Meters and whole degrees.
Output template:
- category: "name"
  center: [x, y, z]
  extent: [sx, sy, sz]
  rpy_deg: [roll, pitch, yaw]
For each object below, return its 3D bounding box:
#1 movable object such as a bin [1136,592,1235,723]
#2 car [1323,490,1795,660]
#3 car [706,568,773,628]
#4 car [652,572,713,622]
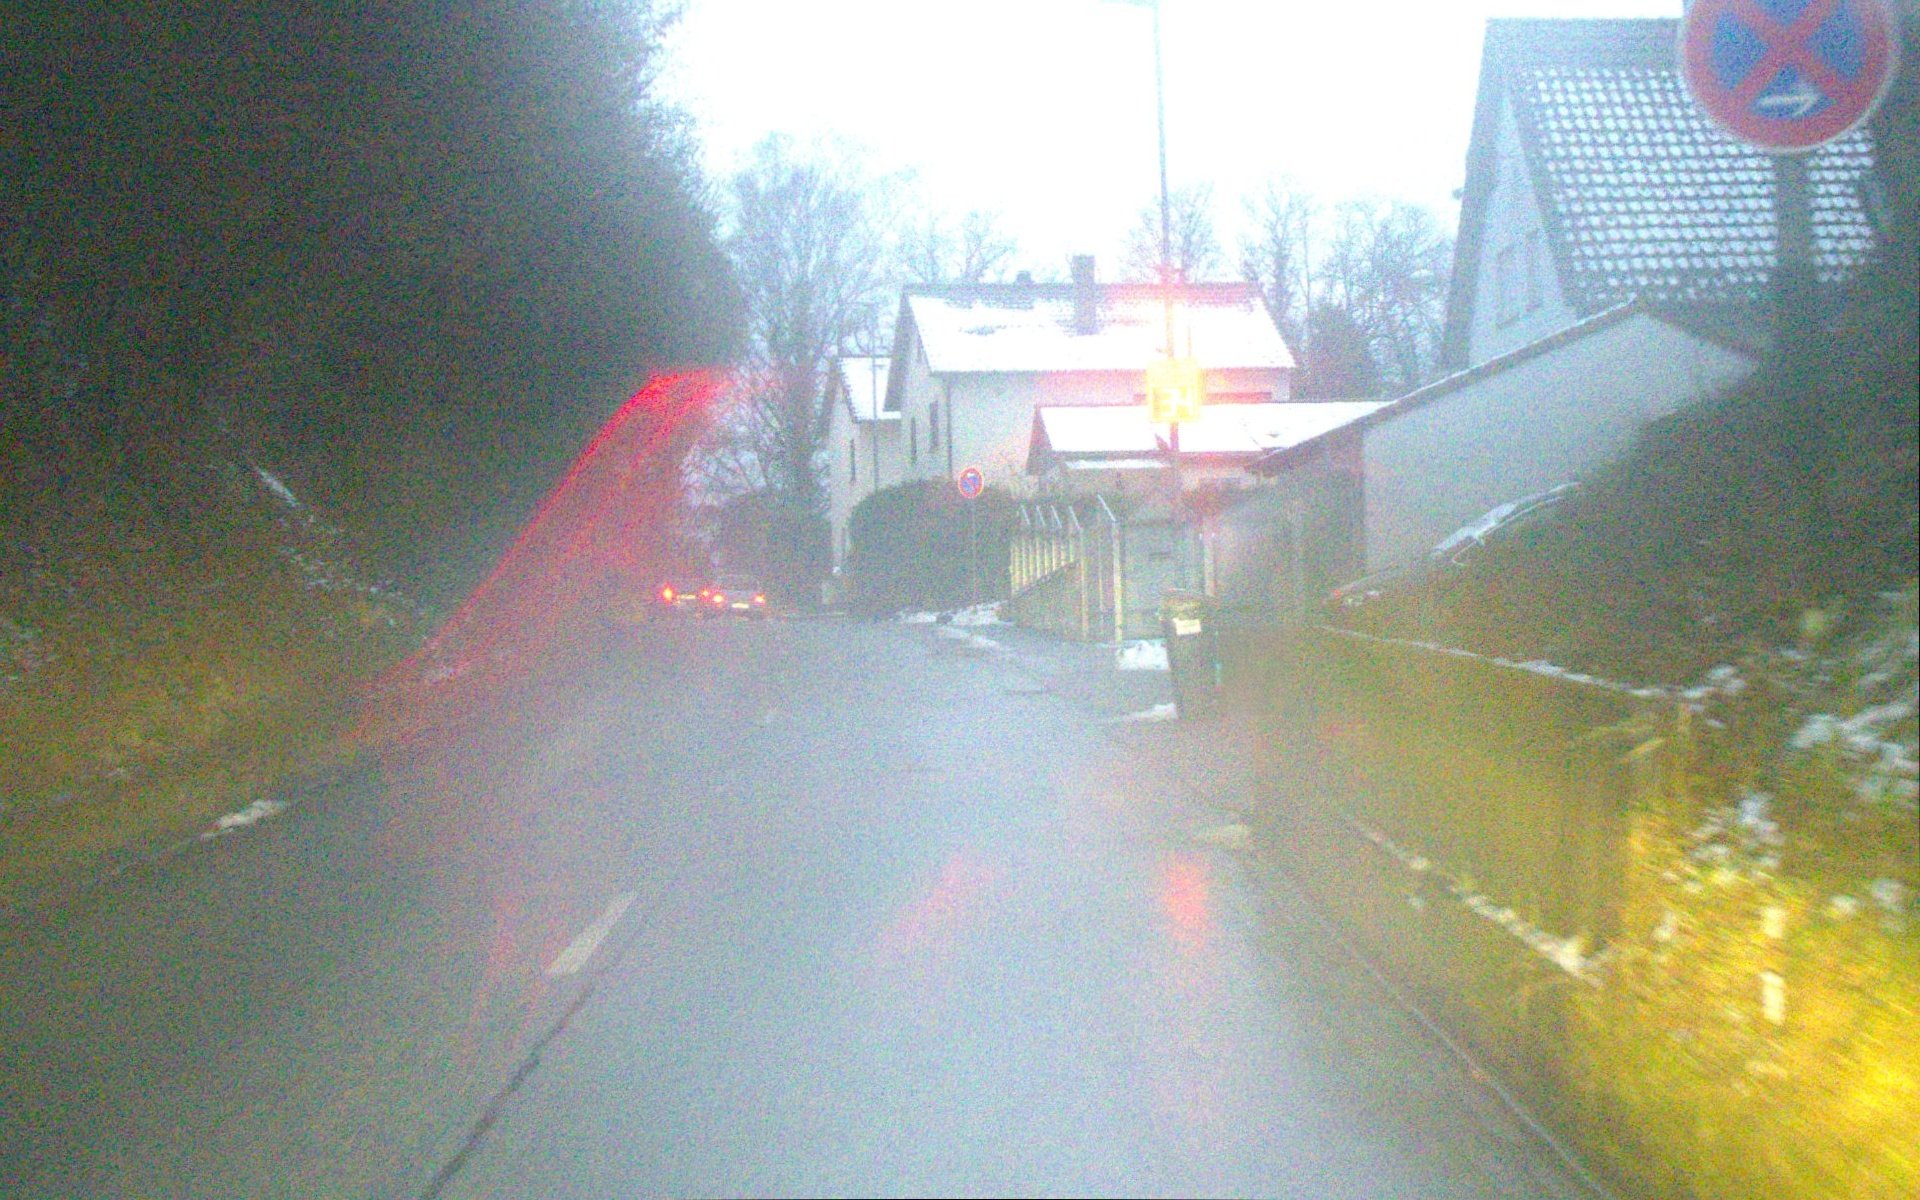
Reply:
- category: "movable object such as a bin"
  center: [1.808, 0.463, 27.427]
  extent: [0.685, 1.000, 0.856]
  rpy_deg: [-3, -2, 7]
- category: "car"
  center: [5.381, -0.200, 31.272]
  extent: [3.987, 1.262, 1.695]
  rpy_deg: [-3, -1, 3]
- category: "car"
  center: [-6.722, -0.040, 105.270]
  extent: [1.805, 1.732, 4.000]
  rpy_deg: [1, -1, -1]
- category: "car"
  center: [-9.511, -0.093, 118.055]
  extent: [1.805, 1.612, 4.000]
  rpy_deg: [1, -1, -1]
